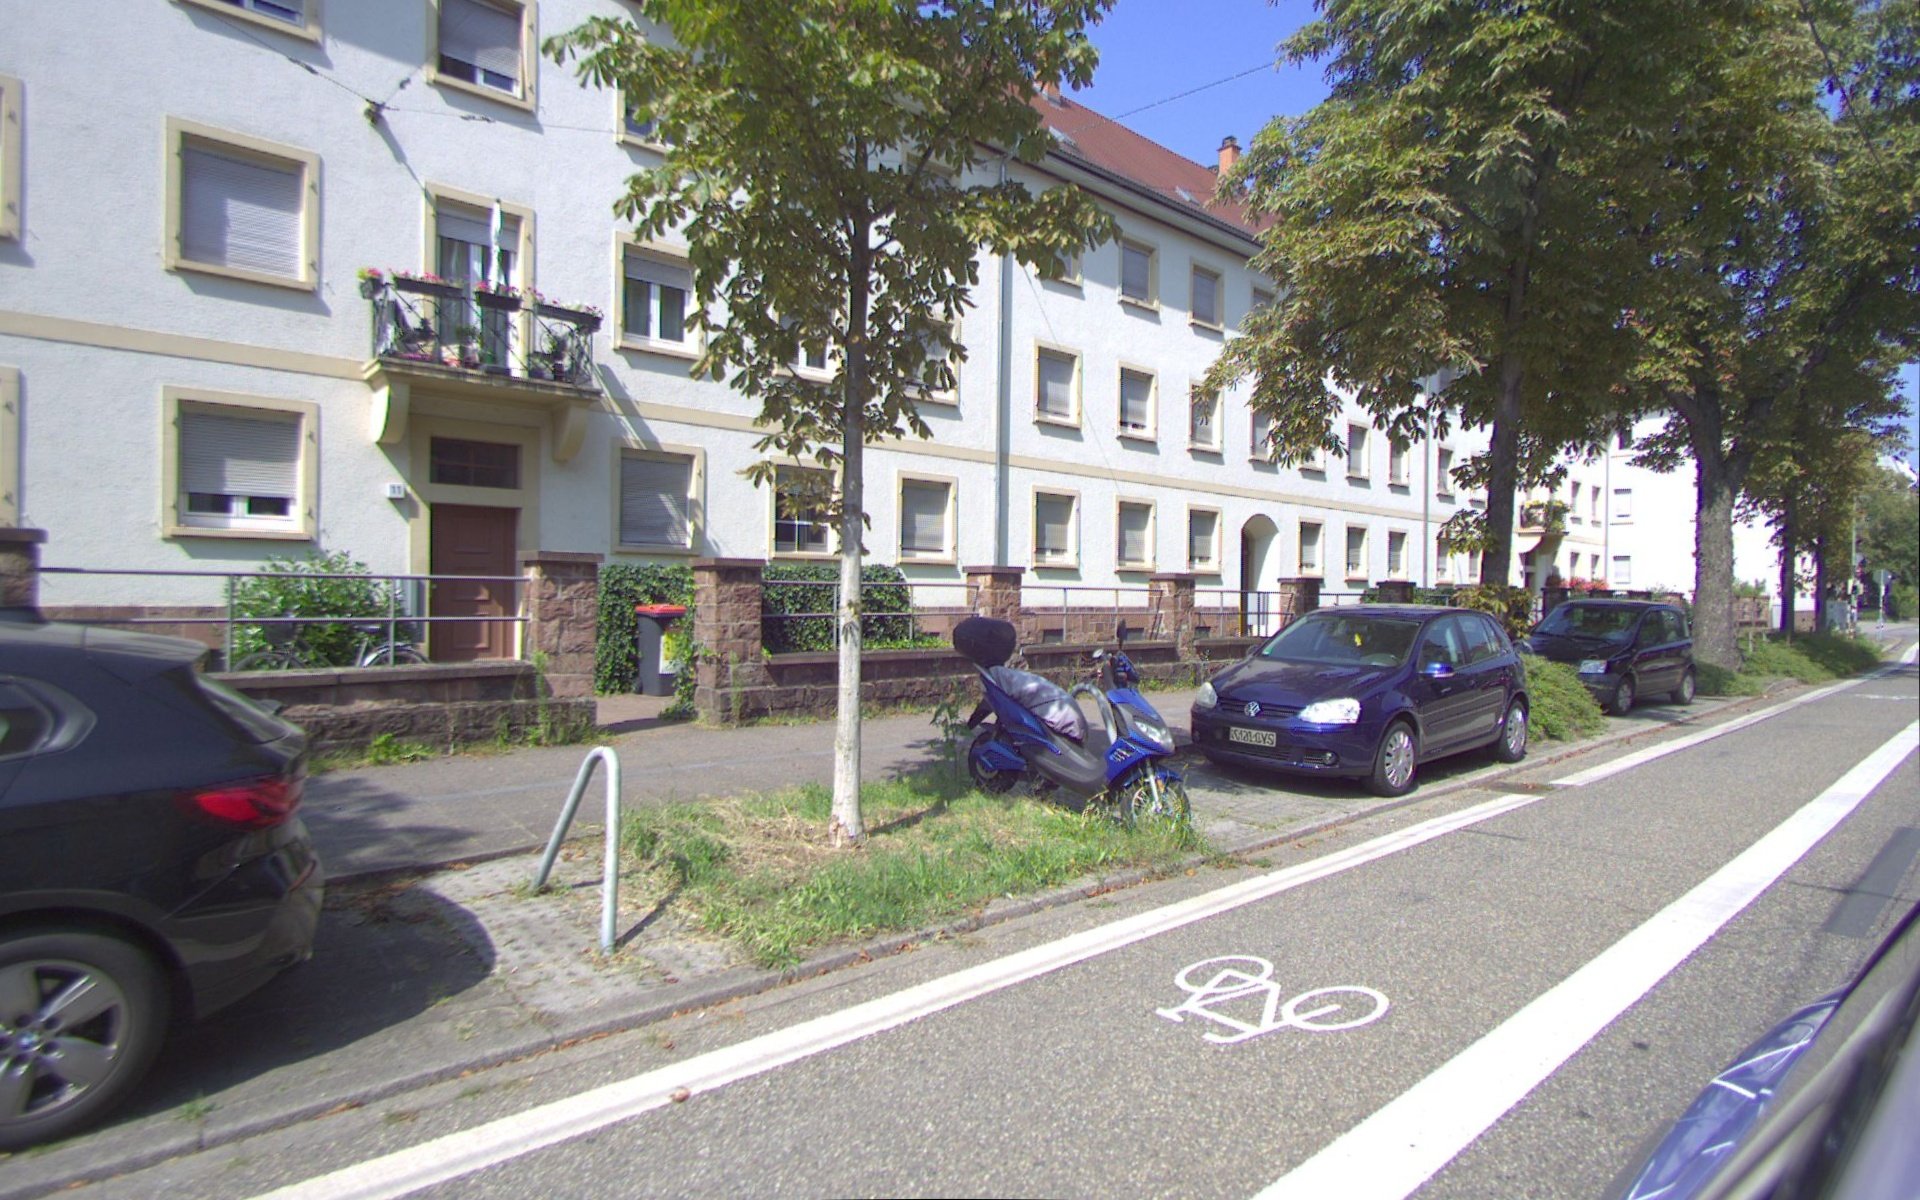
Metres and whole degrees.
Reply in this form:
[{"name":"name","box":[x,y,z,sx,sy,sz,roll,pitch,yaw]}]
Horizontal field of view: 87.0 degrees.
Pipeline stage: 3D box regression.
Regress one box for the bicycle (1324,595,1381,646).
[{"name":"bicycle","box":[8.787,0.437,22.630,1.688,1.107,0.468,0,0,-43]}]

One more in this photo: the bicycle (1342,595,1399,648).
[{"name":"bicycle","box":[8.897,0.448,21.920,1.688,1.107,0.468,0,0,-43]}]

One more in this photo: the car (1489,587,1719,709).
[{"name":"car","box":[9.464,0.616,14.818,3.432,1.549,1.623,0,2,-35]}]

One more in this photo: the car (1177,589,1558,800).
[{"name":"car","box":[3.881,0.686,9.325,3.968,1.495,1.620,0,2,-41]}]

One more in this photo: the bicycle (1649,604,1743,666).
[{"name":"bicycle","box":[13.839,0.650,19.062,1.372,1.122,0.388,1,0,14]}]

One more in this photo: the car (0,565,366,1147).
[{"name":"car","box":[-4.145,0.686,2.501,4.380,1.495,1.759,-1,4,-41]}]

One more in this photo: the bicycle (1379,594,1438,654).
[{"name":"bicycle","box":[9.258,0.474,20.872,1.688,1.175,0.468,0,0,-43]}]

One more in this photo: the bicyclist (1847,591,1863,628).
[{"name":"bicyclist","box":[37.672,0.389,42.596,0.463,1.531,0.438,0,0,-41]}]

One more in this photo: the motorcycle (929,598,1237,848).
[{"name":"motorcycle","box":[0.749,0.699,6.746,0.769,1.385,2.005,0,1,-43]}]

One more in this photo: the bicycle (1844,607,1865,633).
[{"name":"bicycle","box":[37.615,0.828,42.544,1.797,1.060,0.441,0,0,-41]}]
